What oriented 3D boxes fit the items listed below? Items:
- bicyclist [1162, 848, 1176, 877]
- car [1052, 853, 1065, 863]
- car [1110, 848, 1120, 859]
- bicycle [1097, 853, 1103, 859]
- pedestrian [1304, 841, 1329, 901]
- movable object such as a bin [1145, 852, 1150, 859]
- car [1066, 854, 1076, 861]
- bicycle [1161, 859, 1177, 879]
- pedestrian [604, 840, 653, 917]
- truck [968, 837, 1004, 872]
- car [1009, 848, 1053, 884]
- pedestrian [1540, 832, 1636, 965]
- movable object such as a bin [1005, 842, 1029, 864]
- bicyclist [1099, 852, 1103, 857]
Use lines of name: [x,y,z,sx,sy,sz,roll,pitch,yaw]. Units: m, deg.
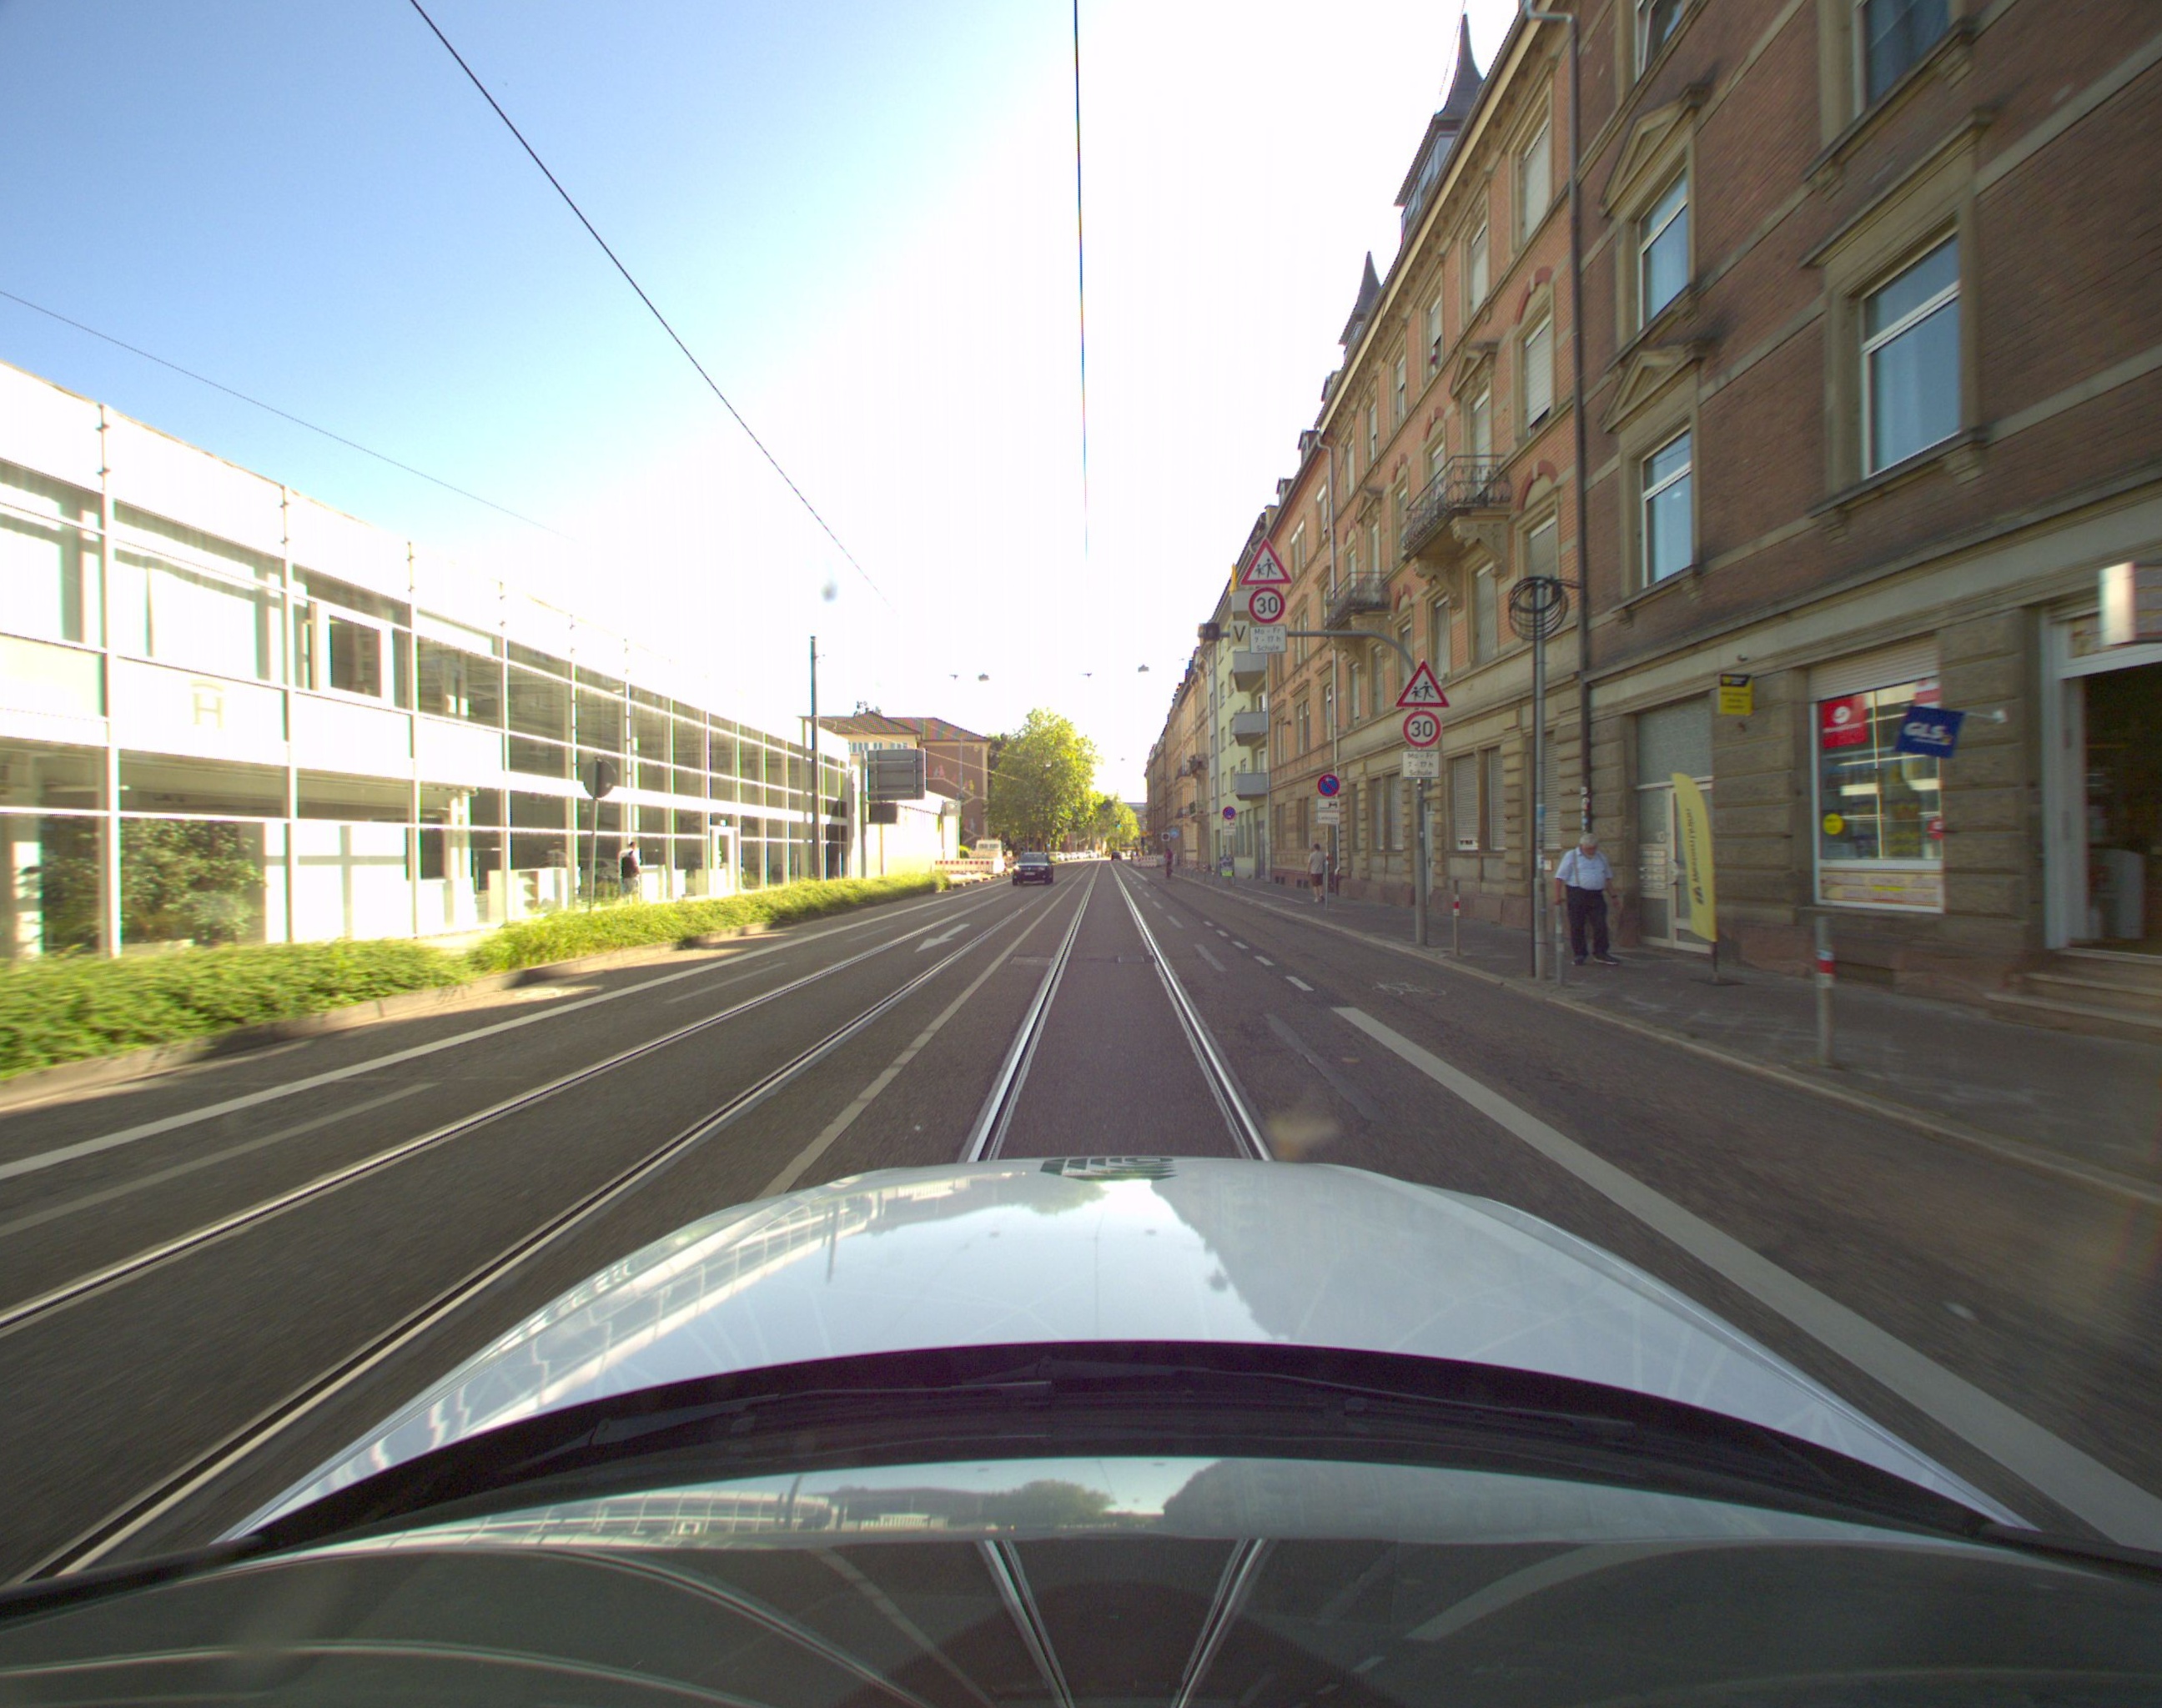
bicyclist: [5.156,0.504,47.767,0.664,1.697,1.043,1,-1,1]
car: [-3.706,0.624,135.994,1.740,1.608,4.048,1,-1,4]
car: [6.437,-0.036,154.851,1.986,2.014,4.002,1,-1,2]
bicycle: [5.362,0.665,225.269,1.227,1.572,2.904,1,-1,9]
pedestrian: [6.811,0.479,23.590,0.550,1.701,0.475,-3,-1,7]
movable object such as a bin: [10.655,0.221,130.418,0.671,1.036,0.814,-1,1,2]
car: [-2.225,0.713,174.466,1.740,1.495,4.048,1,-1,4]
bicycle: [5.152,0.851,47.912,0.678,1.114,2.708,1,0,1]
pedestrian: [-10.740,0.573,19.361,0.525,1.765,1.051,1,-1,2]
truck: [-8.155,0.080,70.674,2.531,2.830,6.371,1,-1,-2]
car: [-2.449,0.584,40.967,1.752,1.697,4.146,1,-1,3]
pedestrian: [6.366,0.545,10.262,0.794,1.605,0.653,-1,-1,3]
movable object such as a bin: [-7.946,-0.118,101.770,2.488,2.645,5.986,1,0,-1]
bicyclist: [5.499,0.117,225.220,1.071,1.427,1.149,1,-1,10]
